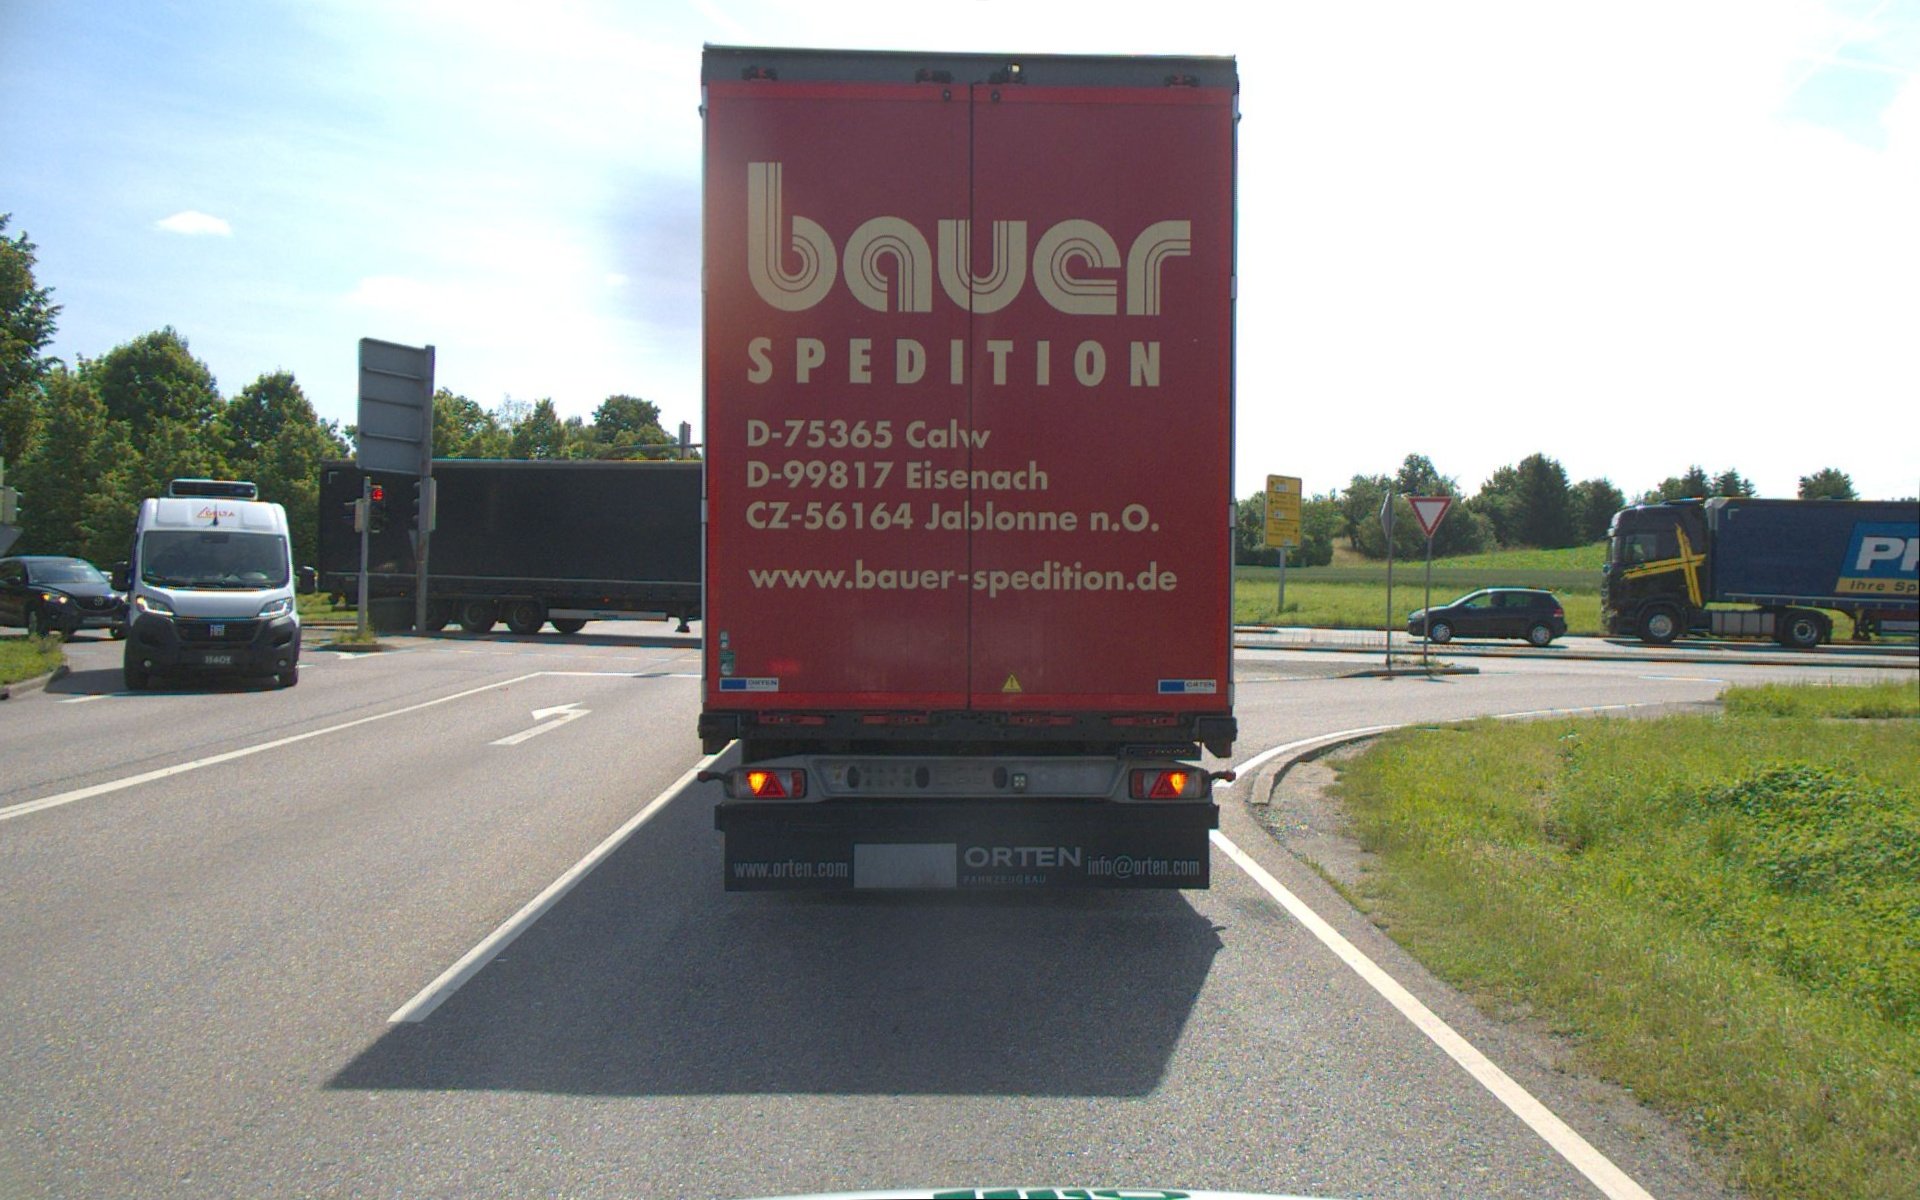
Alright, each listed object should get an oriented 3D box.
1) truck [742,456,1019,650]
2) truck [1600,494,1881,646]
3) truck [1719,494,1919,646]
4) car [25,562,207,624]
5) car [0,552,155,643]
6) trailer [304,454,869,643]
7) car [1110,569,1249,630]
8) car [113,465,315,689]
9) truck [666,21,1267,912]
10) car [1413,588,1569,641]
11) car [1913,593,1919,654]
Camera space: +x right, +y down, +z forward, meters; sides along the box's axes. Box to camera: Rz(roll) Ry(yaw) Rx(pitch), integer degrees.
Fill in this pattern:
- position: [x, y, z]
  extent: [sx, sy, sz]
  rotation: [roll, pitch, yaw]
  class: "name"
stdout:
- position: [-1.737, -1.089, 37.472]
  extent: [5.701, 4.132, 2.801]
  rotation: [1, 1, 12]
  class: "truck"
- position: [21.957, -0.906, 46.970]
  extent: [6.785, 4.063, 3.029]
  rotation: [1, 1, 18]
  class: "truck"
- position: [28.393, -0.768, 44.735]
  extent: [13.987, 4.049, 3.028]
  rotation: [1, 1, 20]
  class: "truck"
- position: [-22.144, -0.188, 43.427]
  extent: [4.157, 1.486, 1.811]
  rotation: [1, 0, 17]
  class: "car"
- position: [-18.527, -0.053, 34.198]
  extent: [4.033, 1.780, 1.863]
  rotation: [1, -1, 39]
  class: "car"
- position: [-8.984, -1.309, 39.324]
  extent: [13.395, 4.132, 2.800]
  rotation: [1, 1, 17]
  class: "trailer"
- position: [6.143, -0.001, 46.612]
  extent: [3.747, 1.662, 1.762]
  rotation: [0, -1, 3]
  class: "car"
- position: [-10.554, -0.311, 23.111]
  extent: [2.094, 2.701, 5.928]
  rotation: [1, 0, -29]
  class: "car"
- position: [-0.119, -0.689, 15.800]
  extent: [2.679, 3.993, 16.622]
  rotation: [1, 1, -1]
  class: "truck"
- position: [14.219, 0.391, 44.486]
  extent: [3.902, 1.333, 1.767]
  rotation: [1, -1, 15]
  class: "car"
- position: [25.968, 0.615, 40.888]
  extent: [3.911, 1.517, 1.538]
  rotation: [1, -1, 18]
  class: "car"
